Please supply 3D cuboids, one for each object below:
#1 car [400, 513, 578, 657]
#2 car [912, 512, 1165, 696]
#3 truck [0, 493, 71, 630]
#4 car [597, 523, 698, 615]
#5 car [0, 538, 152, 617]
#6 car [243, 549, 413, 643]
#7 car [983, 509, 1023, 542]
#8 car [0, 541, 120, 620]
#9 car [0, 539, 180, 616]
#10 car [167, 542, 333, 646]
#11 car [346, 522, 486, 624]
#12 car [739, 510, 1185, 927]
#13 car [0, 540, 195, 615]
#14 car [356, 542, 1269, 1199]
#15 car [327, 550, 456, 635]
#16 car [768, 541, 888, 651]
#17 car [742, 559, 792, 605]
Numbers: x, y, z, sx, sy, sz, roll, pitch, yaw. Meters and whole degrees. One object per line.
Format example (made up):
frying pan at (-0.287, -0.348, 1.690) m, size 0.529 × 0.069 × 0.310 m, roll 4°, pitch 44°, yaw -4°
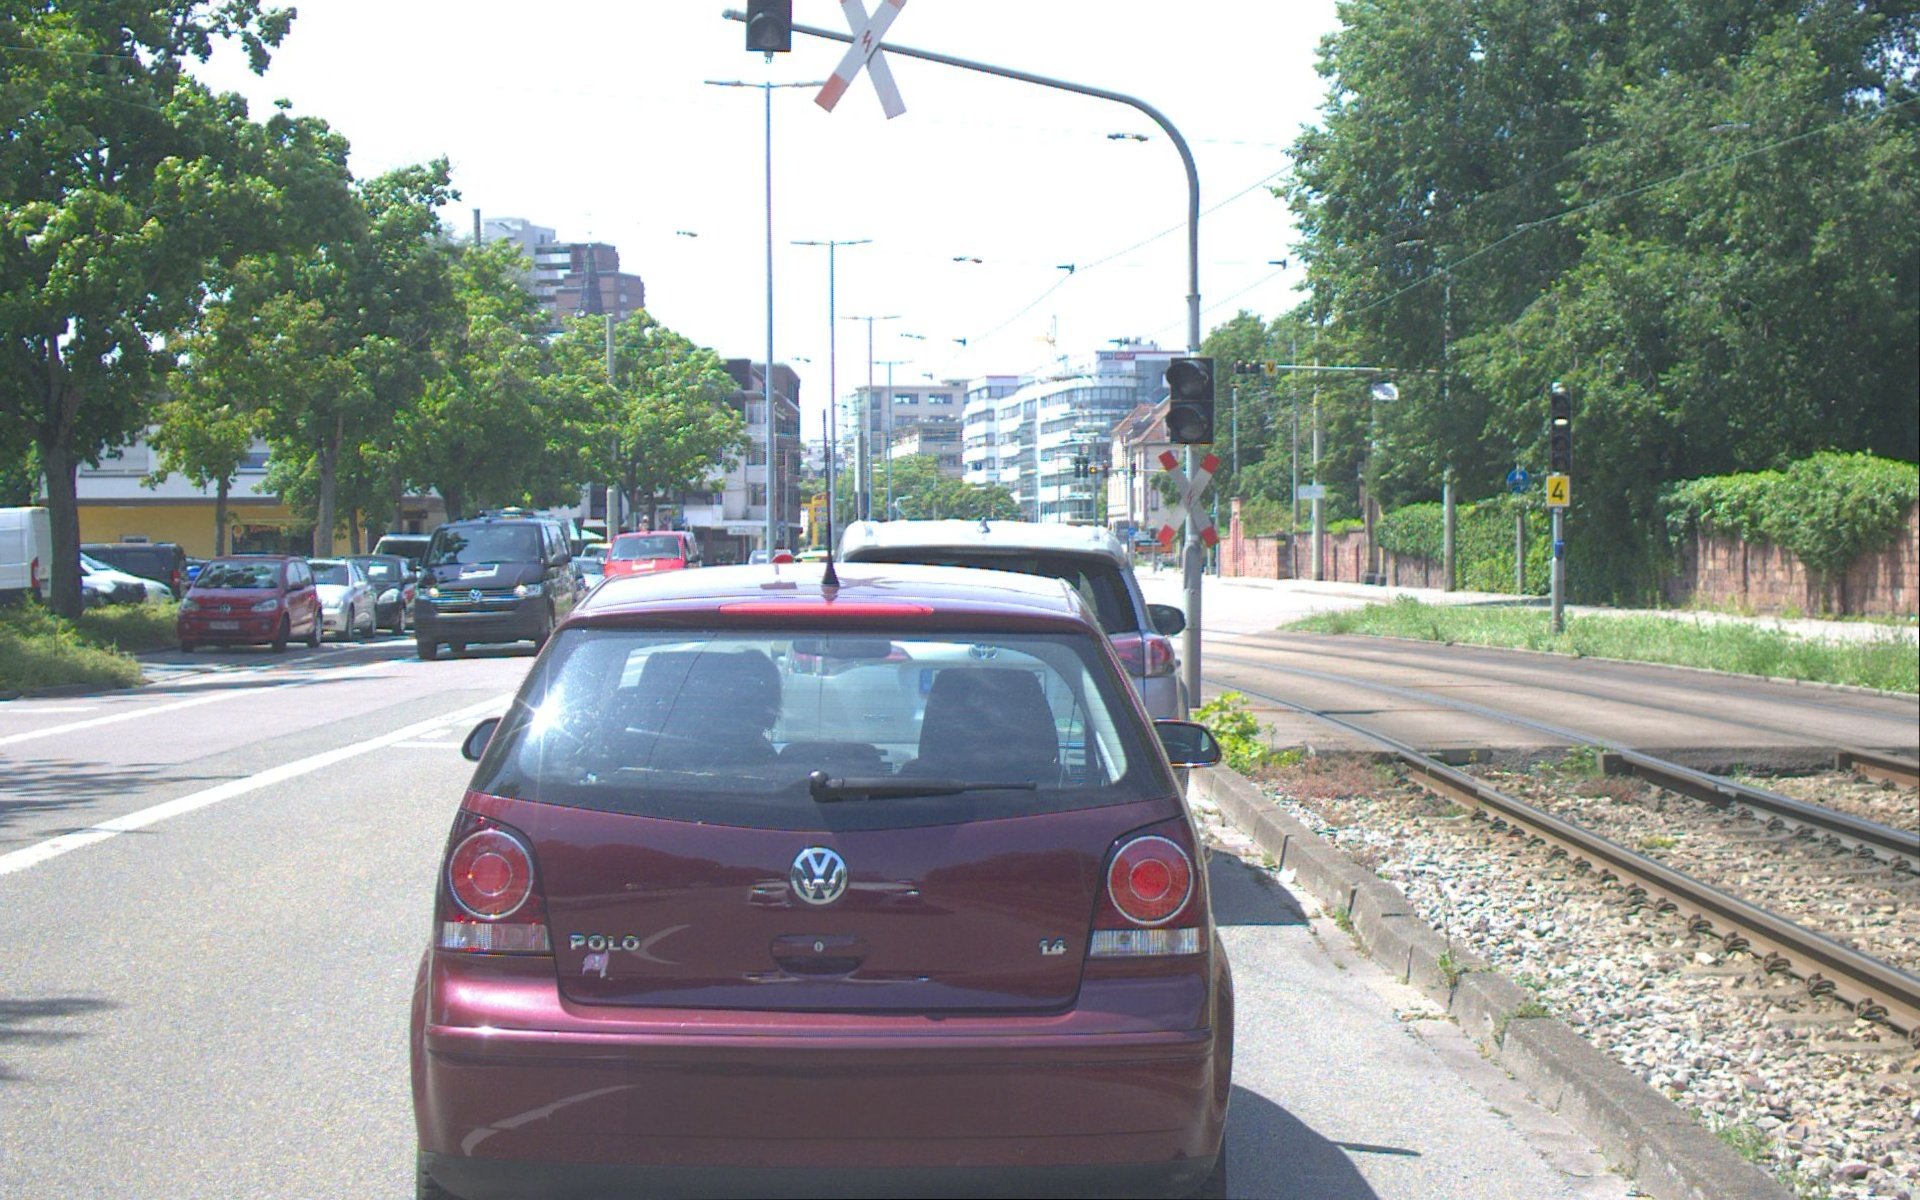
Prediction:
car at (-6.652, -0.250, 49.019) m, size 1.918 × 1.904 × 4.571 m, roll -2°, pitch 1°, yaw -1°
car at (0.812, 0.000, 32.742) m, size 1.775 × 1.625 × 3.998 m, roll 1°, pitch 1°, yaw 11°
truck at (-21.260, -0.765, 70.107) m, size 5.578 × 2.750 × 2.432 m, roll -1°, pitch 1°, yaw 1°
car at (-6.881, -0.715, 76.060) m, size 1.898 × 1.919 × 4.820 m, roll -2°, pitch 1°, yaw -2°
car at (-21.591, -0.533, 80.943) m, size 4.718 × 1.807 × 1.797 m, roll -1°, pitch 1°, yaw -1°
car at (-10.907, -0.101, 59.615) m, size 1.719 × 1.422 × 4.771 m, roll -4°, pitch 1°, yaw 3°
car at (2.515, -4.354, 202.260) m, size 1.918 × 1.904 × 4.572 m, roll -1°, pitch 1°, yaw -5°
car at (-21.556, -0.451, 78.657) m, size 4.209 × 1.759 × 1.857 m, roll -1°, pitch 1°, yaw -1°
car at (-21.498, -0.546, 83.489) m, size 4.718 × 1.807 × 1.797 m, roll -1°, pitch 1°, yaw -1°
car at (-10.957, -0.107, 53.276) m, size 1.672 × 1.541 × 3.726 m, roll 1°, pitch 0°, yaw 2°
car at (-11.136, -0.570, 70.658) m, size 1.863 × 1.930 × 4.805 m, roll 3°, pitch 1°, yaw 2°
car at (-0.018, 0.449, 16.013) m, size 1.795 × 1.677 × 4.000 m, roll 1°, pitch 1°, yaw -1°
car at (-21.696, -0.570, 86.045) m, size 4.718 × 1.807 × 1.797 m, roll -1°, pitch 1°, yaw -1°
car at (-0.289, 0.622, 8.115) m, size 1.609 × 1.493 × 4.000 m, roll 1°, pitch 1°, yaw -1°
car at (-10.661, -0.165, 64.686) m, size 1.614 × 1.479 × 3.784 m, roll 3°, pitch 1°, yaw 2°
car at (-1.789, -0.084, 47.339) m, size 1.551 × 1.443 × 3.412 m, roll 1°, pitch 1°, yaw -1°
car at (-6.475, -0.621, 115.771) m, size 1.405 × 1.435 × 3.840 m, roll 3°, pitch 1°, yaw 0°
